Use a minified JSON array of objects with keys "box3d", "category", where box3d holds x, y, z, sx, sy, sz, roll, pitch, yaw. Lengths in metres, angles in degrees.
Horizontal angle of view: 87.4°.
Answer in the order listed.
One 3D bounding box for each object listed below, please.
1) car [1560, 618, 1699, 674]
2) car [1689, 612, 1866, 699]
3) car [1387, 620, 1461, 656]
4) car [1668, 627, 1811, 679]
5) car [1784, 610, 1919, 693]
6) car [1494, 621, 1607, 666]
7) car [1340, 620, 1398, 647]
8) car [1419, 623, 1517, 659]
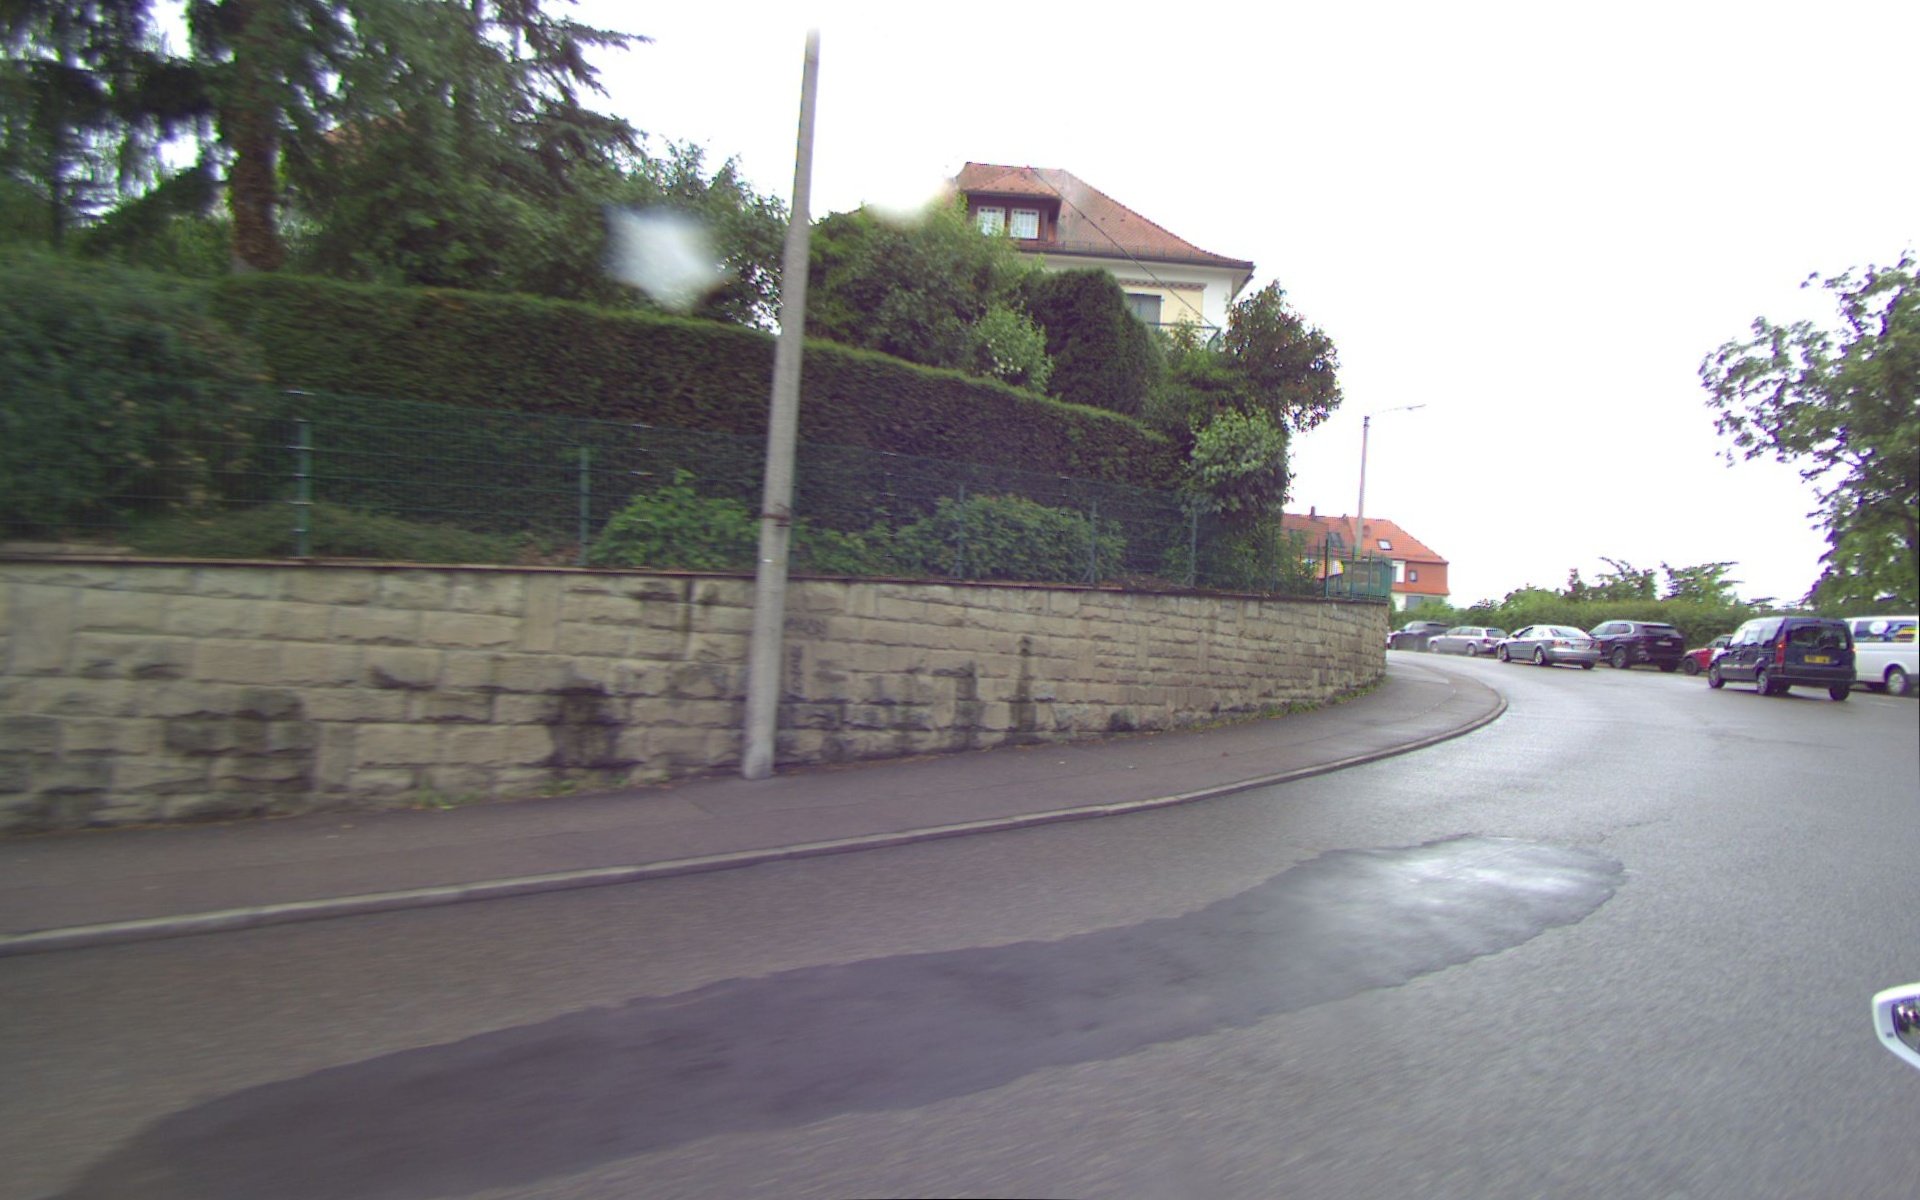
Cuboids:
[{"box3d":[25.070,1.664,37.892,1.993,1.806,4.899,3,0,2],"category":"car"},{"box3d":[19.613,1.306,24.341,1.793,1.907,4.097,-1,-2,15],"category":"car"},{"box3d":[25.527,2.052,55.417,1.856,1.684,4.548,5,-1,0],"category":"car"},{"box3d":[25.036,1.656,32.432,1.643,1.432,3.742,3,0,0],"category":"car"},{"box3d":[24.236,1.293,26.286,1.828,1.974,4.811,1,-1,8],"category":"car"},{"box3d":[20.719,1.526,35.429,1.822,1.477,4.098,0,-2,5],"category":"car"},{"box3d":[25.453,2.058,62.654,1.685,1.424,4.608,4,-1,1],"category":"car"},{"box3d":[25.161,2.017,49.963,1.774,1.459,4.630,4,0,-13],"category":"car"}]
